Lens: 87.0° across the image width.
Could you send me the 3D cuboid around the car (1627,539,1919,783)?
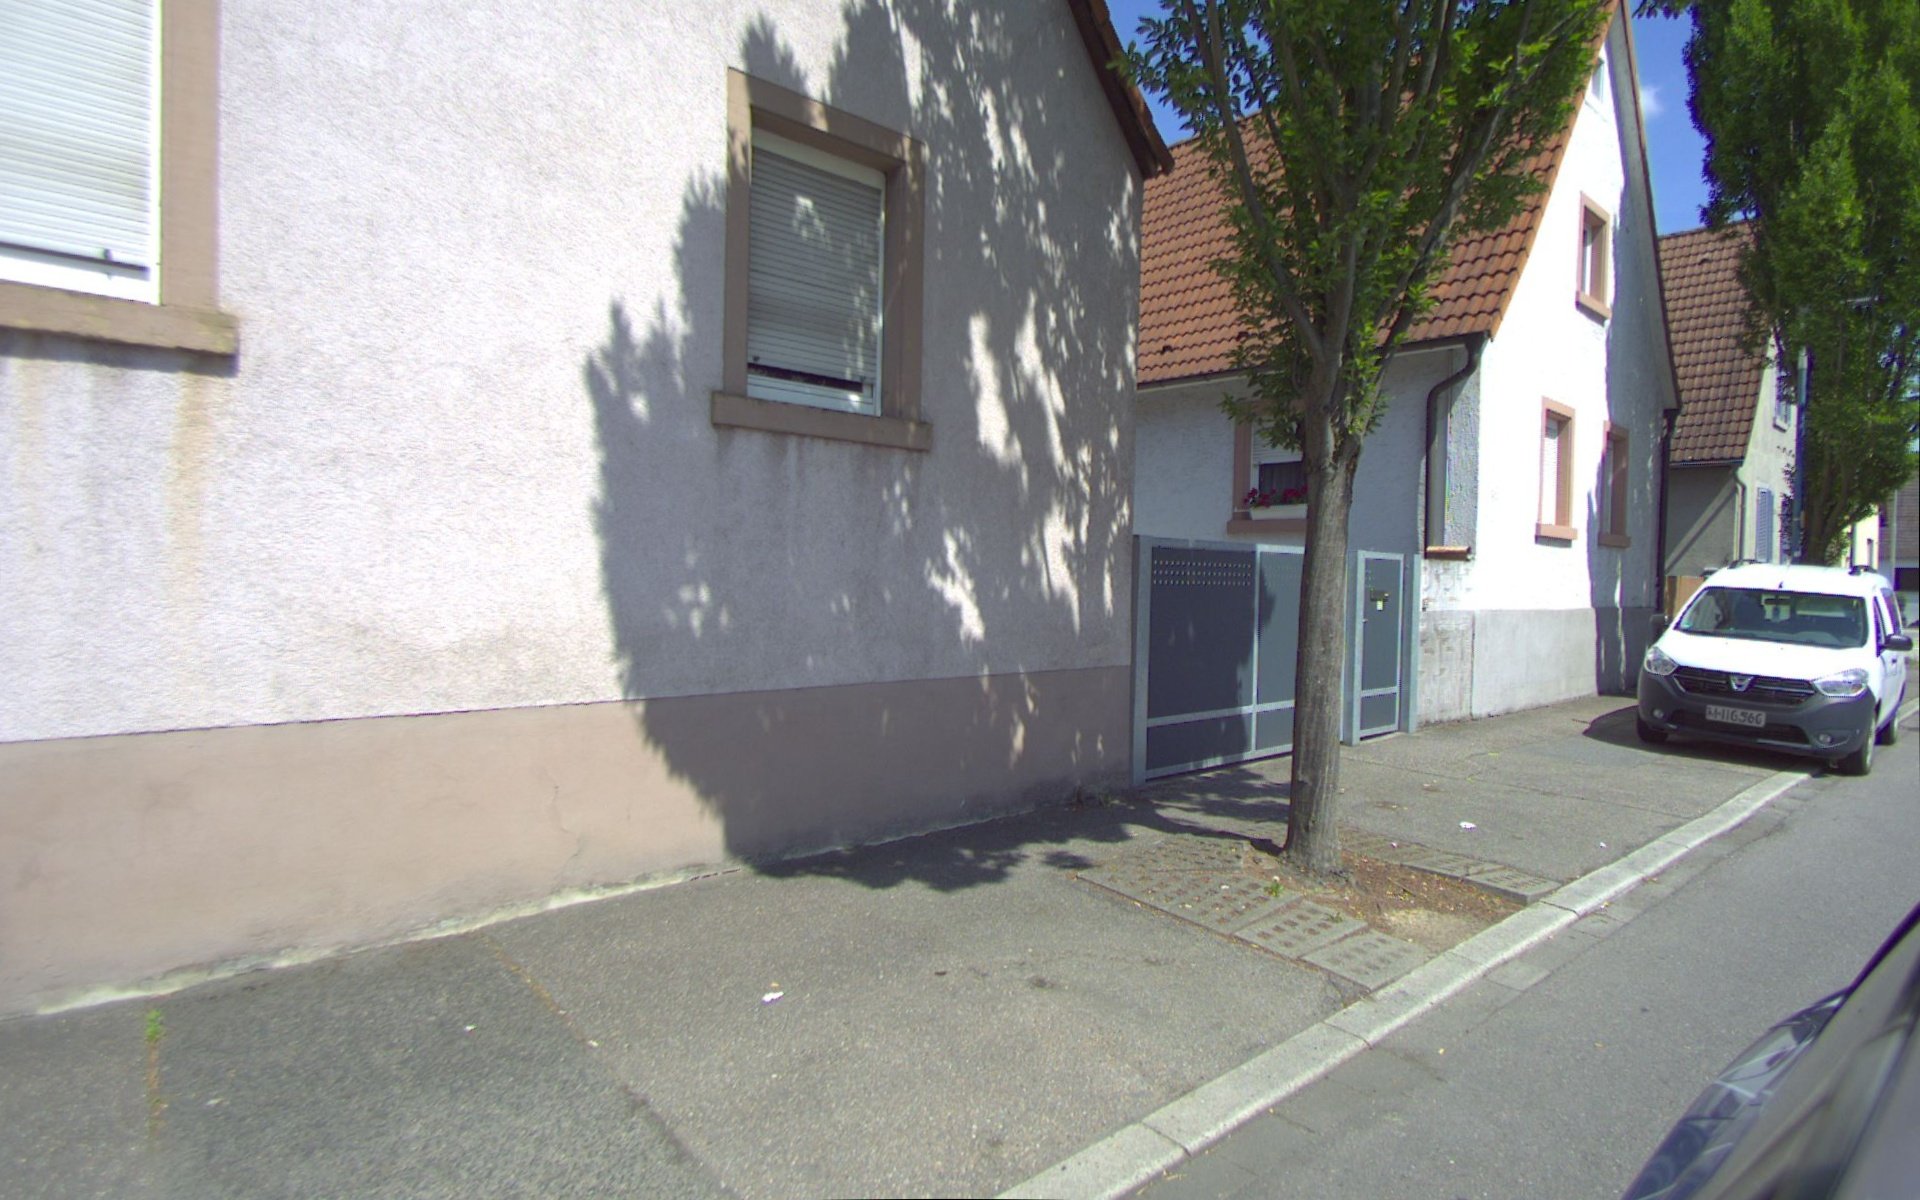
[{"bbox_3d":[8.468,0.439,10.122,4.681,1.864,1.692,0,4,-41],"label":"car"}]
